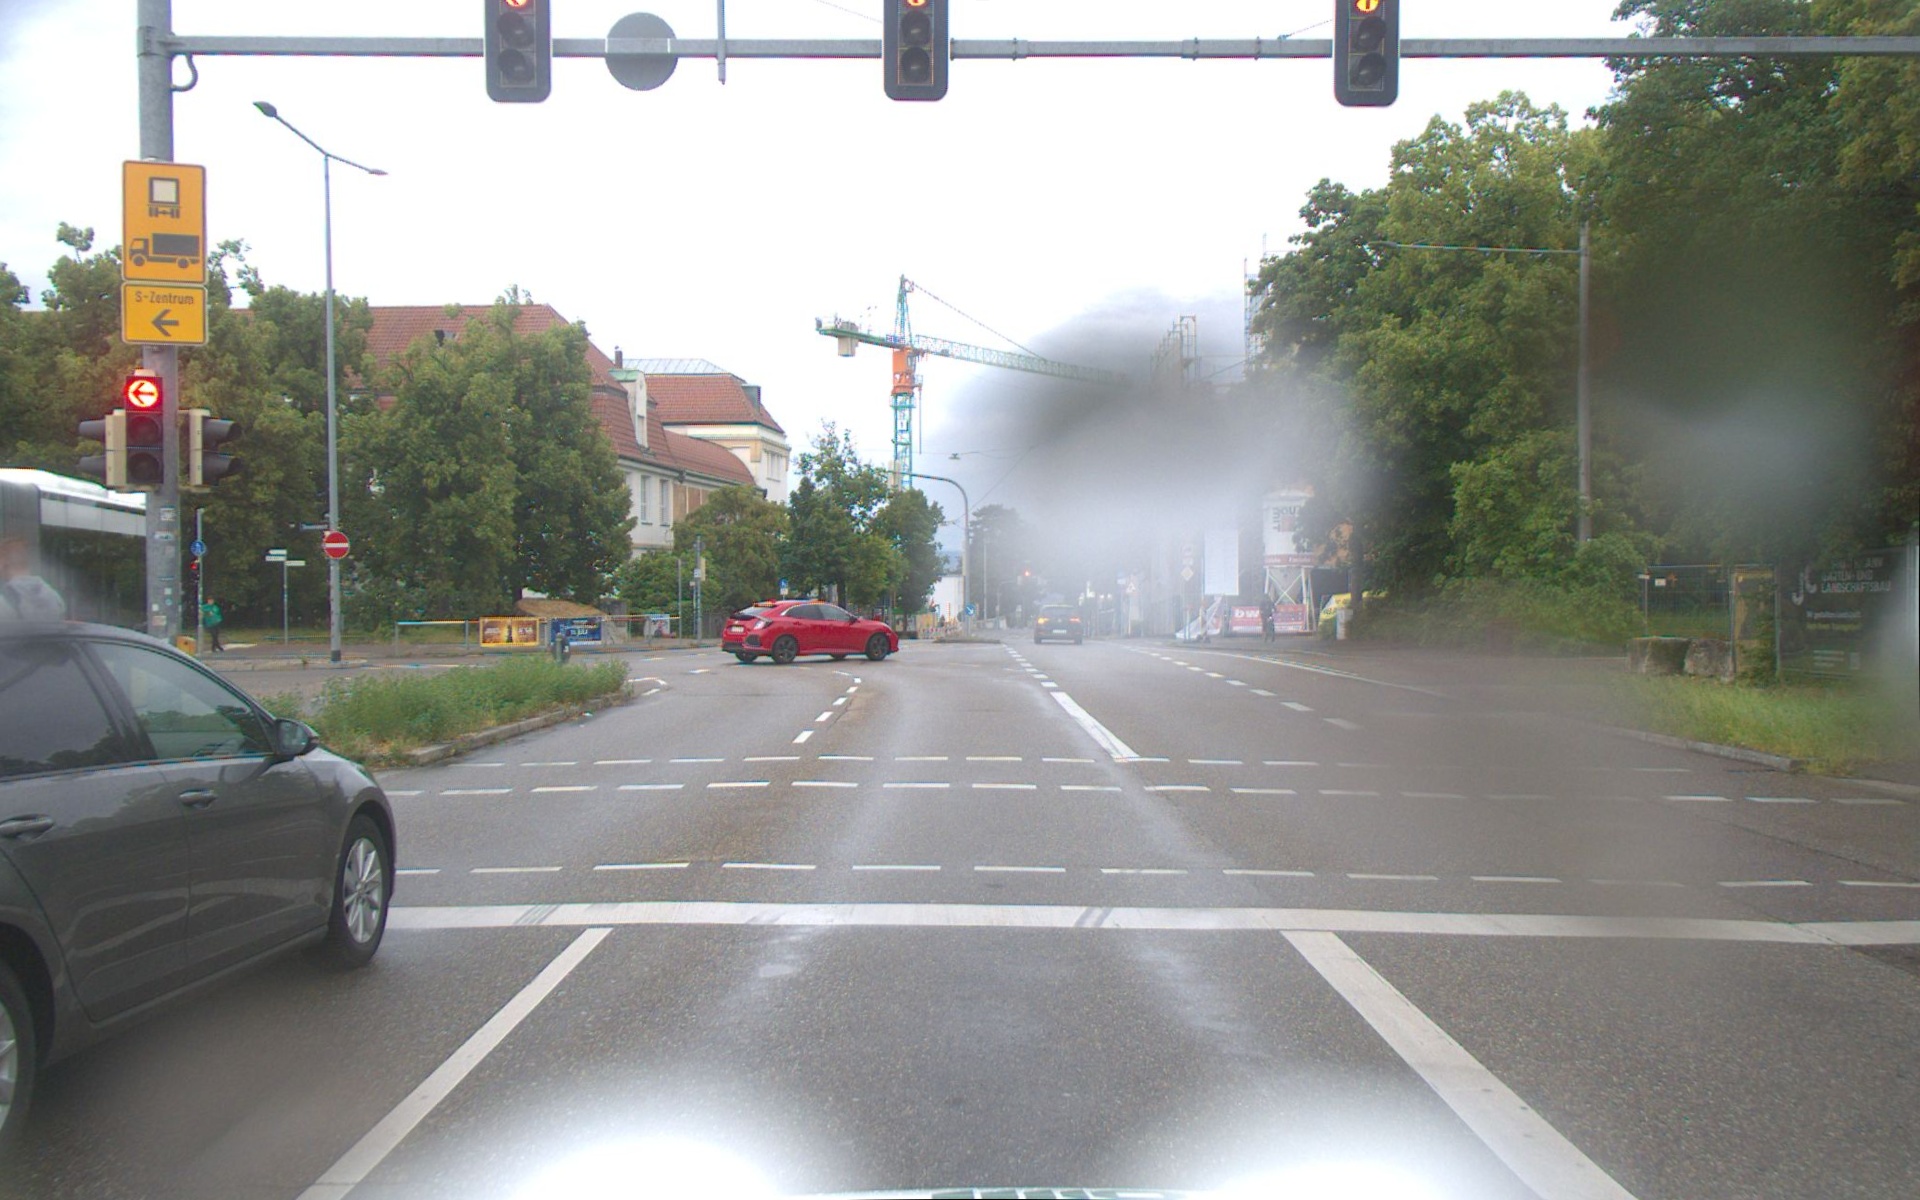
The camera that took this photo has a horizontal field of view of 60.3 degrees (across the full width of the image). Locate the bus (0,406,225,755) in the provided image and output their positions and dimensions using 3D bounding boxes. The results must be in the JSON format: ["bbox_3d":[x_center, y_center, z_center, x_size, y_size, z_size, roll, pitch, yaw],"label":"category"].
[{"bbox_3d":[-11.378,-0.174,19.872,2.837,3.365,8.551,-1,0,-12],"label":"bus"}]

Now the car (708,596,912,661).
[{"bbox_3d":[-3.504,0.631,38.968,4.473,1.450,1.973,0,0,-38],"label":"car"}]

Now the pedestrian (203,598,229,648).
[{"bbox_3d":[-22.514,0.686,50.077,0.608,1.516,0.769,0,0,-16],"label":"pedestrian"}]

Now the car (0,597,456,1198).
[{"bbox_3d":[-3.209,0.752,5.342,1.768,1.454,4.197,-2,0,1],"label":"car"}]

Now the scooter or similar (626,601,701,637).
[{"bbox_3d":[-12.625,0.802,70.472,3.025,1.465,0.948,-1,0,-2],"label":"scooter or similar"}]

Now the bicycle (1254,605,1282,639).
[{"bbox_3d":[11.096,0.801,59.623,0.705,1.214,1.756,1,-2,1],"label":"bicycle"}]

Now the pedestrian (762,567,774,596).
[{"bbox_3d":[-10.133,-0.976,87.282,0.575,1.454,0.467,1,-2,0],"label":"pedestrian"}]

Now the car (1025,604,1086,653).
[{"bbox_3d":[3.517,1.089,61.484,1.953,1.736,3.999,1,-2,-1],"label":"car"}]

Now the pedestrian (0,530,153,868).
[{"bbox_3d":[-5.891,0.618,10.571,0.920,2.048,0.847,-3,0,5],"label":"pedestrian"}]

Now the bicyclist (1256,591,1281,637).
[{"bbox_3d":[11.105,0.510,59.572,0.705,1.591,1.143,1,-2,1],"label":"bicyclist"}]
